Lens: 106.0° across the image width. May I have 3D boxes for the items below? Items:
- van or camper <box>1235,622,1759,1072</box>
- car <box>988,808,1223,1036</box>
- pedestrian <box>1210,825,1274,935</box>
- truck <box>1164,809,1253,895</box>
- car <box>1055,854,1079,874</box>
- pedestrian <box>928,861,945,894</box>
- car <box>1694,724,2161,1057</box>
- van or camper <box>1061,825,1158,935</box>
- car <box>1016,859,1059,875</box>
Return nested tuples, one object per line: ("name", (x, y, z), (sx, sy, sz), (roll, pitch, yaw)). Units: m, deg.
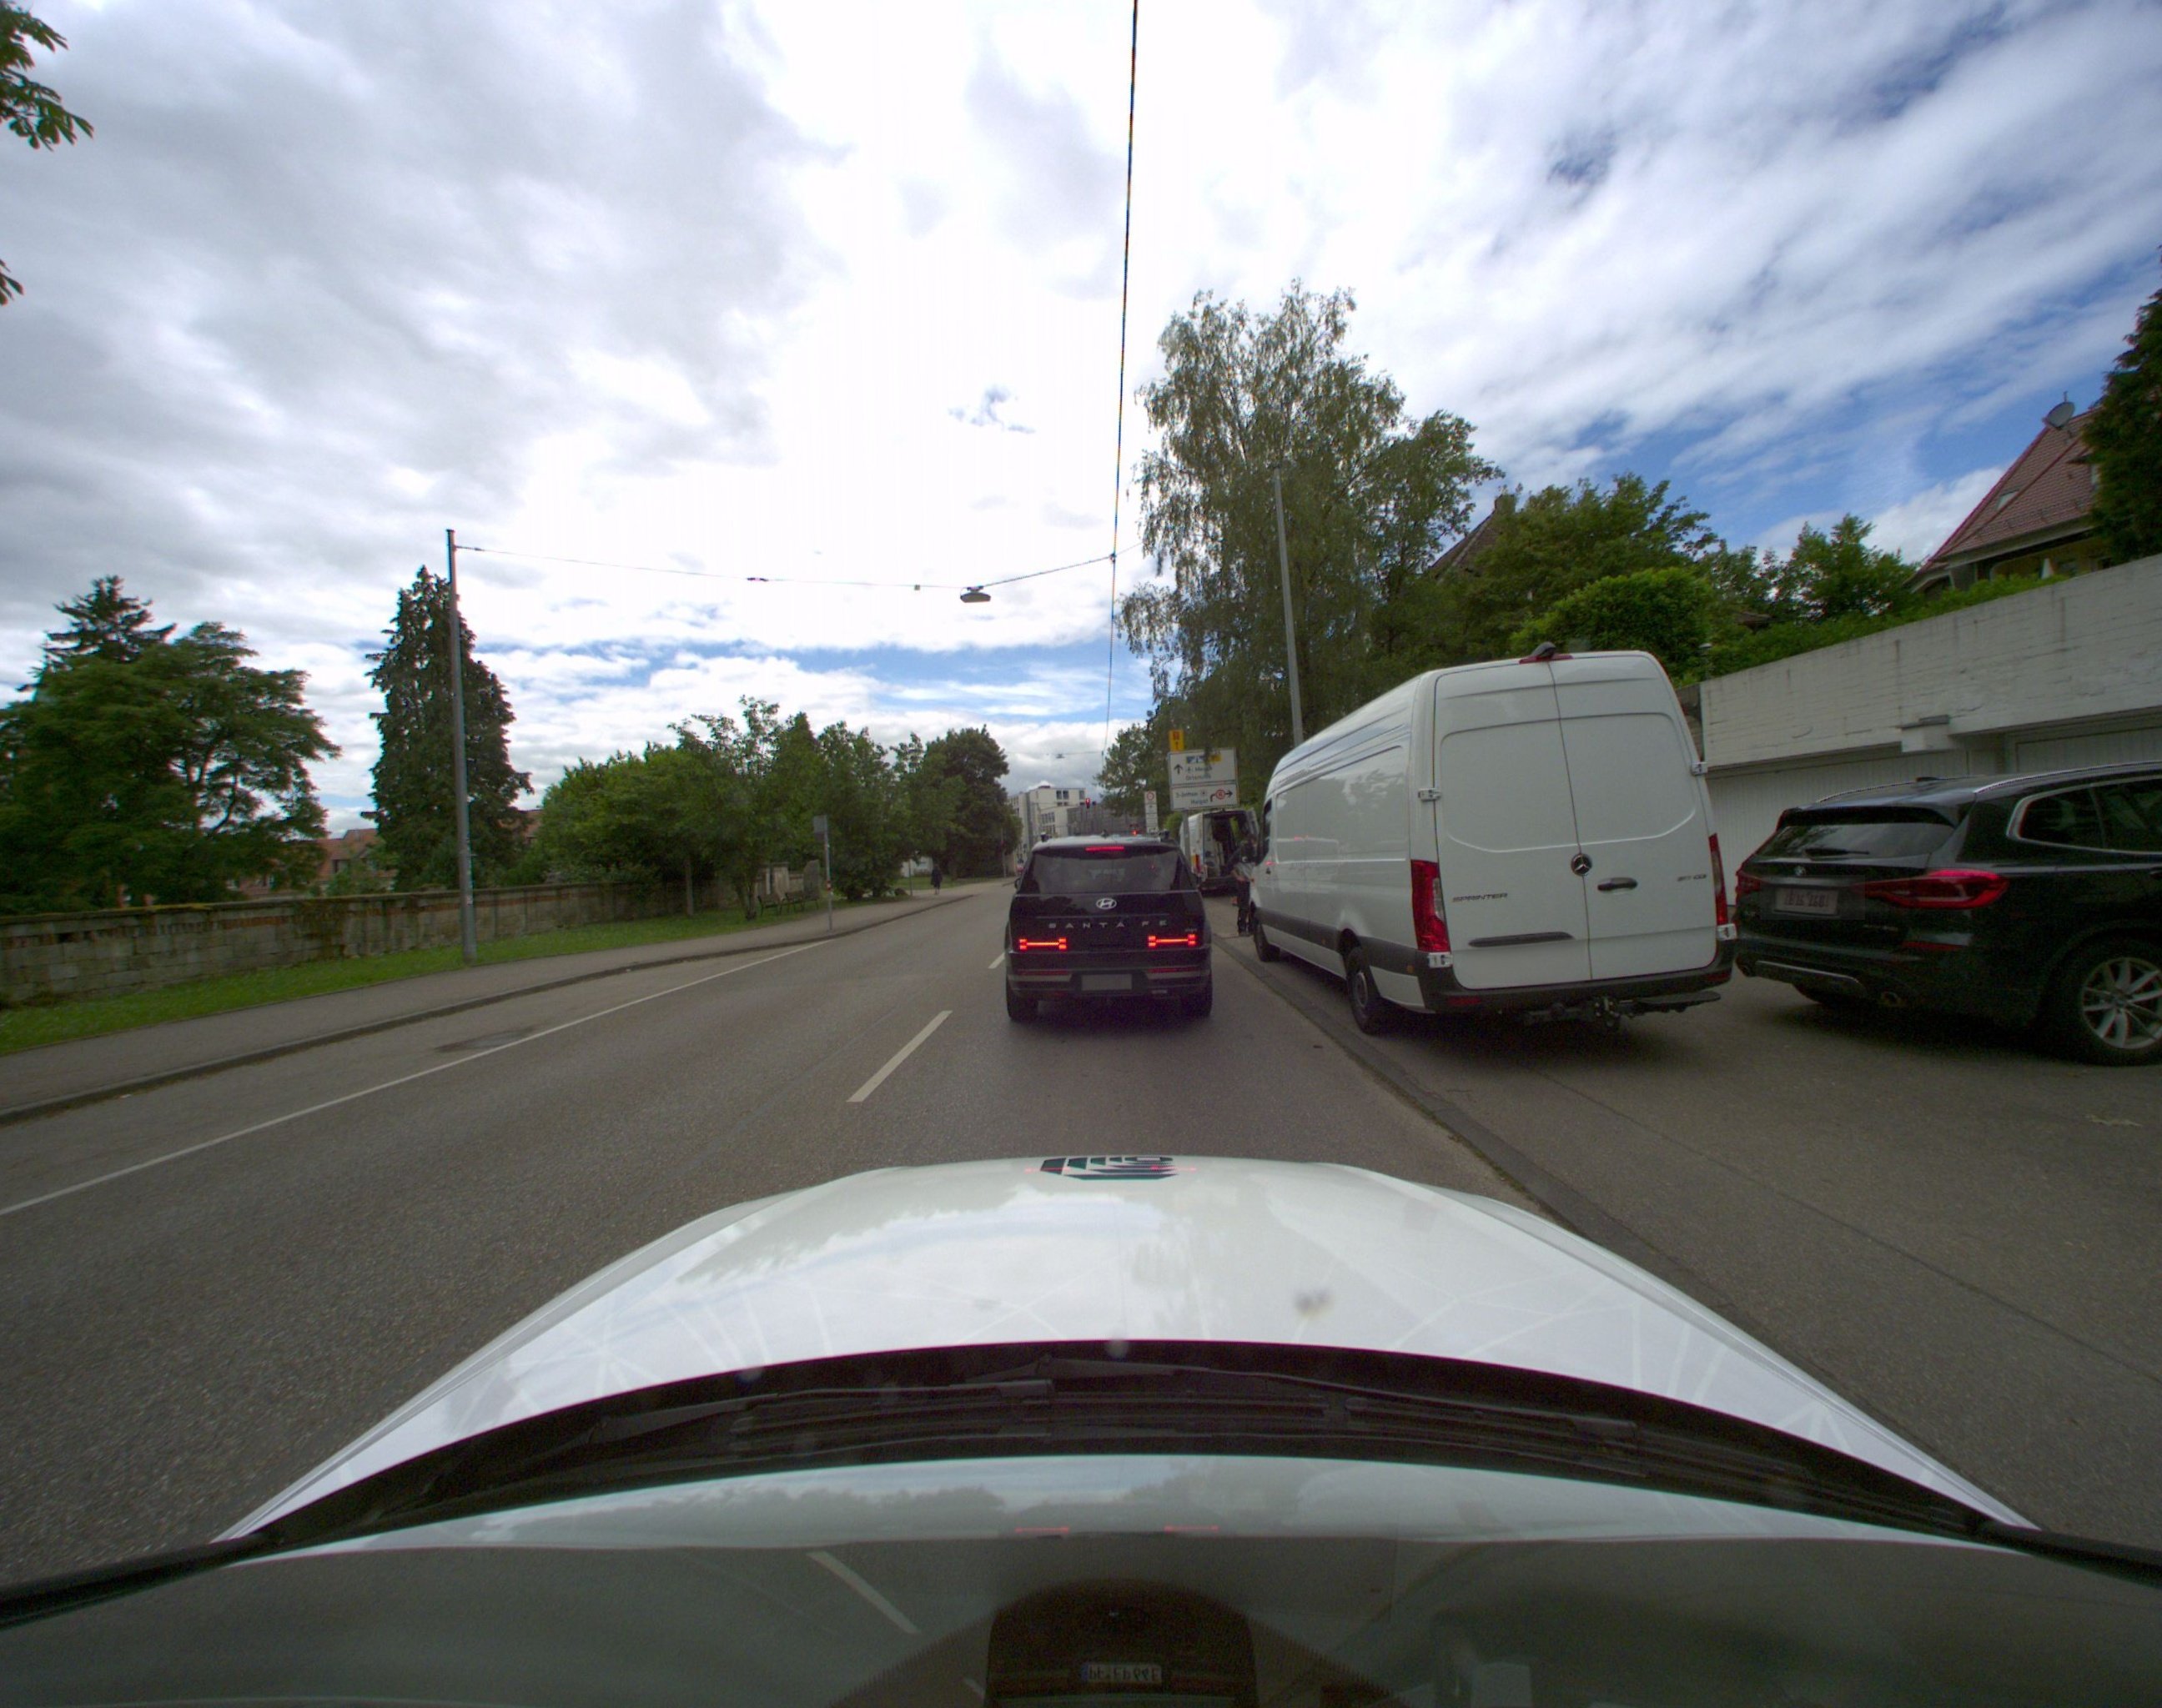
("van or camper", (3.129, -0.037, 8.198), (1.986, 2.620, 6.543), (-3, 0, 2))
("car", (0.262, 0.559, 8.669), (1.883, 1.819, 4.002), (-2, 0, 2))
("pedestrian", (2.758, 0.437, 14.007), (0.867, 1.797, 0.760), (-3, 0, 1))
("truck", (4.254, -0.041, 28.096), (1.937, 2.561, 5.213), (-5, -1, -1))
("car", (-1.269, 0.886, 75.086), (1.852, 1.657, 4.307), (-6, 0, 2))
("pedestrian", (-7.562, 1.228, 42.702), (0.737, 1.715, 0.791), (-3, 0, -5))
("car", (6.858, 0.119, 5.229), (4.398, 1.750, 1.739), (-3, 0, 3))
("van or camper", (0.611, 0.501, 17.612), (1.748, 2.013, 4.002), (-3, 0, 2))
("car", (-4.817, 1.444, 89.782), (4.697, 1.748, 1.997), (0, -1, -5))
